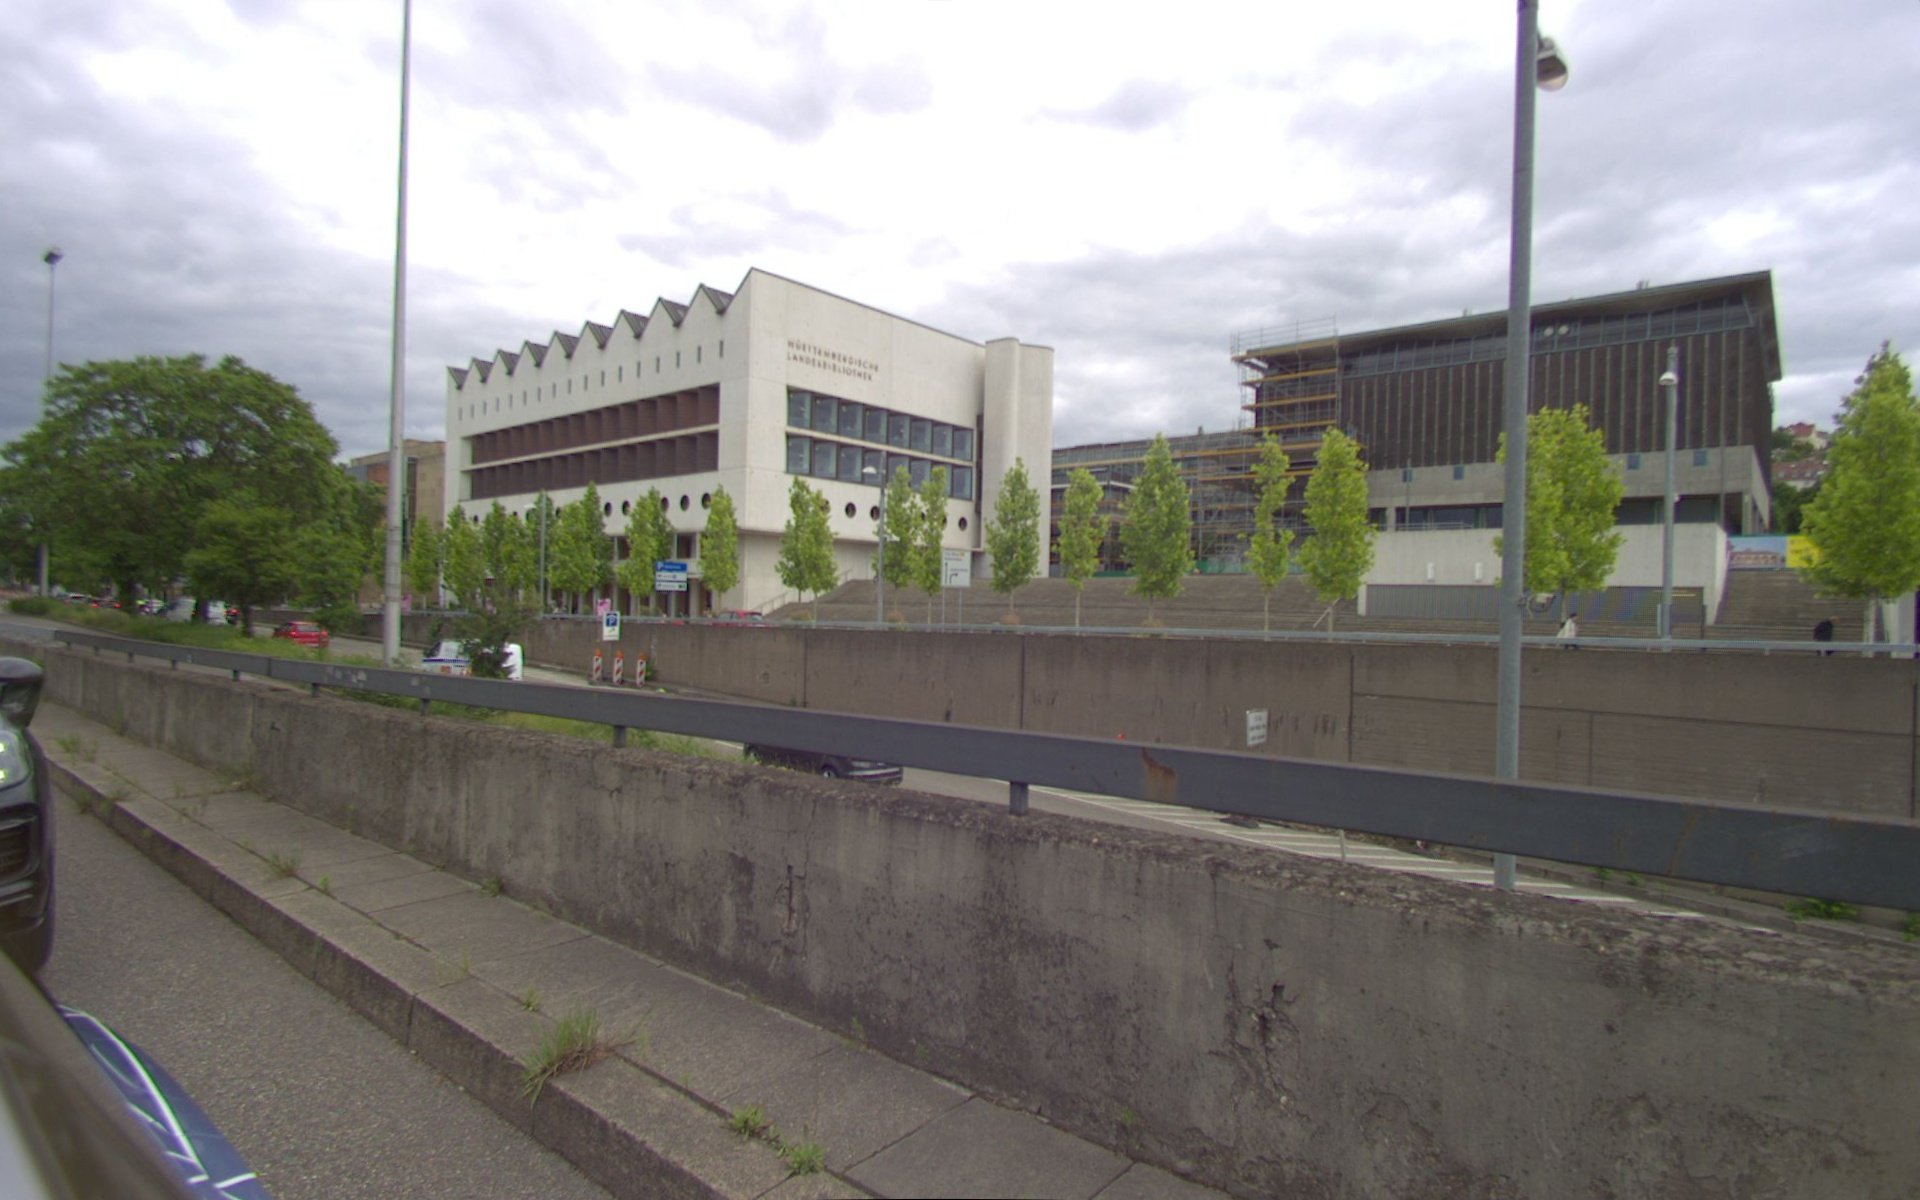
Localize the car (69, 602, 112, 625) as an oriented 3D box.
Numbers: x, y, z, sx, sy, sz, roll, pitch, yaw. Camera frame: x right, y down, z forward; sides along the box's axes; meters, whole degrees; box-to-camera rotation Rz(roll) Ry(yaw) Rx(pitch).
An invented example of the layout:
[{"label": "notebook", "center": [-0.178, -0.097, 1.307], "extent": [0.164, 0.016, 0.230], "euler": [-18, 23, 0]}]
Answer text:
[{"label": "car", "center": [-71.450, 1.095, 83.124], "extent": [4.515, 1.687, 1.973], "euler": [0, -4, 41]}]

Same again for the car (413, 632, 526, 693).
[{"label": "car", "center": [-18.270, 2.236, 37.579], "extent": [5.118, 2.029, 2.193], "euler": [-1, -2, 45]}]

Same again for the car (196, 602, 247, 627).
[{"label": "car", "center": [-51.785, 0.999, 70.953], "extent": [4.141, 1.500, 1.758], "euler": [3, 0, 38]}]

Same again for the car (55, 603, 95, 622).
[{"label": "car", "center": [-75.357, 1.058, 86.201], "extent": [3.998, 1.409, 1.973], "euler": [0, -4, 41]}]

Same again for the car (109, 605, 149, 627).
[{"label": "car", "center": [-72.898, 1.431, 88.749], "extent": [3.998, 1.776, 1.973], "euler": [0, -3, 41]}]

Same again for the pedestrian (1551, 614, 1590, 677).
[{"label": "pedestrian", "center": [19.948, 1.486, 33.073], "extent": [0.728, 2.029, 0.795], "euler": [1, -3, -31]}]

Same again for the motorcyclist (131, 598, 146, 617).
[{"label": "motorcyclist", "center": [-60.084, 0.550, 74.028], "extent": [0.718, 1.362, 0.662], "euler": [3, -3, 41]}]

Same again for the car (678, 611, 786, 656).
[{"label": "car", "center": [-10.100, 1.460, 44.757], "extent": [4.729, 1.869, 2.154], "euler": [-1, -1, 38]}]

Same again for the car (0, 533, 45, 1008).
[{"label": "car", "center": [-5.512, 0.568, 4.440], "extent": [4.733, 1.602, 1.879], "euler": [0, 0, 44]}]

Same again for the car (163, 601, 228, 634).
[{"label": "car", "center": [-47.565, 1.060, 62.921], "extent": [5.246, 1.651, 1.973], "euler": [2, -5, 40]}]

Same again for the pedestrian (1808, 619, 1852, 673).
[{"label": "pedestrian", "center": [27.083, 1.435, 31.512], "extent": [0.728, 1.655, 0.795], "euler": [1, -3, -30]}]

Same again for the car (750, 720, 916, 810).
[{"label": "car", "center": [-3.145, 3.934, 24.658], "extent": [3.999, 1.560, 1.855], "euler": [0, -1, 42]}]

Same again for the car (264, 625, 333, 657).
[{"label": "car", "center": [-33.299, 2.036, 50.914], "extent": [3.999, 1.497, 1.972], "euler": [-1, -2, 42]}]

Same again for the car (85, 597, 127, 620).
[{"label": "car", "center": [-65.864, 0.662, 78.036], "extent": [4.144, 1.500, 1.757], "euler": [3, 0, 40]}]

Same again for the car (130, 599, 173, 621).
[{"label": "car", "center": [-64.757, 0.781, 81.051], "extent": [4.141, 1.500, 1.758], "euler": [3, 0, 38]}]

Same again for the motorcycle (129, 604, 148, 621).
[{"label": "motorcycle", "center": [-60.111, 0.883, 74.022], "extent": [2.050, 1.106, 0.678], "euler": [3, -2, 41]}]

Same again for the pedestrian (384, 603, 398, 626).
[{"label": "pedestrian", "center": [-49.759, 1.271, 88.507], "extent": [1.016, 2.029, 0.712], "euler": [1, 1, 42]}]
